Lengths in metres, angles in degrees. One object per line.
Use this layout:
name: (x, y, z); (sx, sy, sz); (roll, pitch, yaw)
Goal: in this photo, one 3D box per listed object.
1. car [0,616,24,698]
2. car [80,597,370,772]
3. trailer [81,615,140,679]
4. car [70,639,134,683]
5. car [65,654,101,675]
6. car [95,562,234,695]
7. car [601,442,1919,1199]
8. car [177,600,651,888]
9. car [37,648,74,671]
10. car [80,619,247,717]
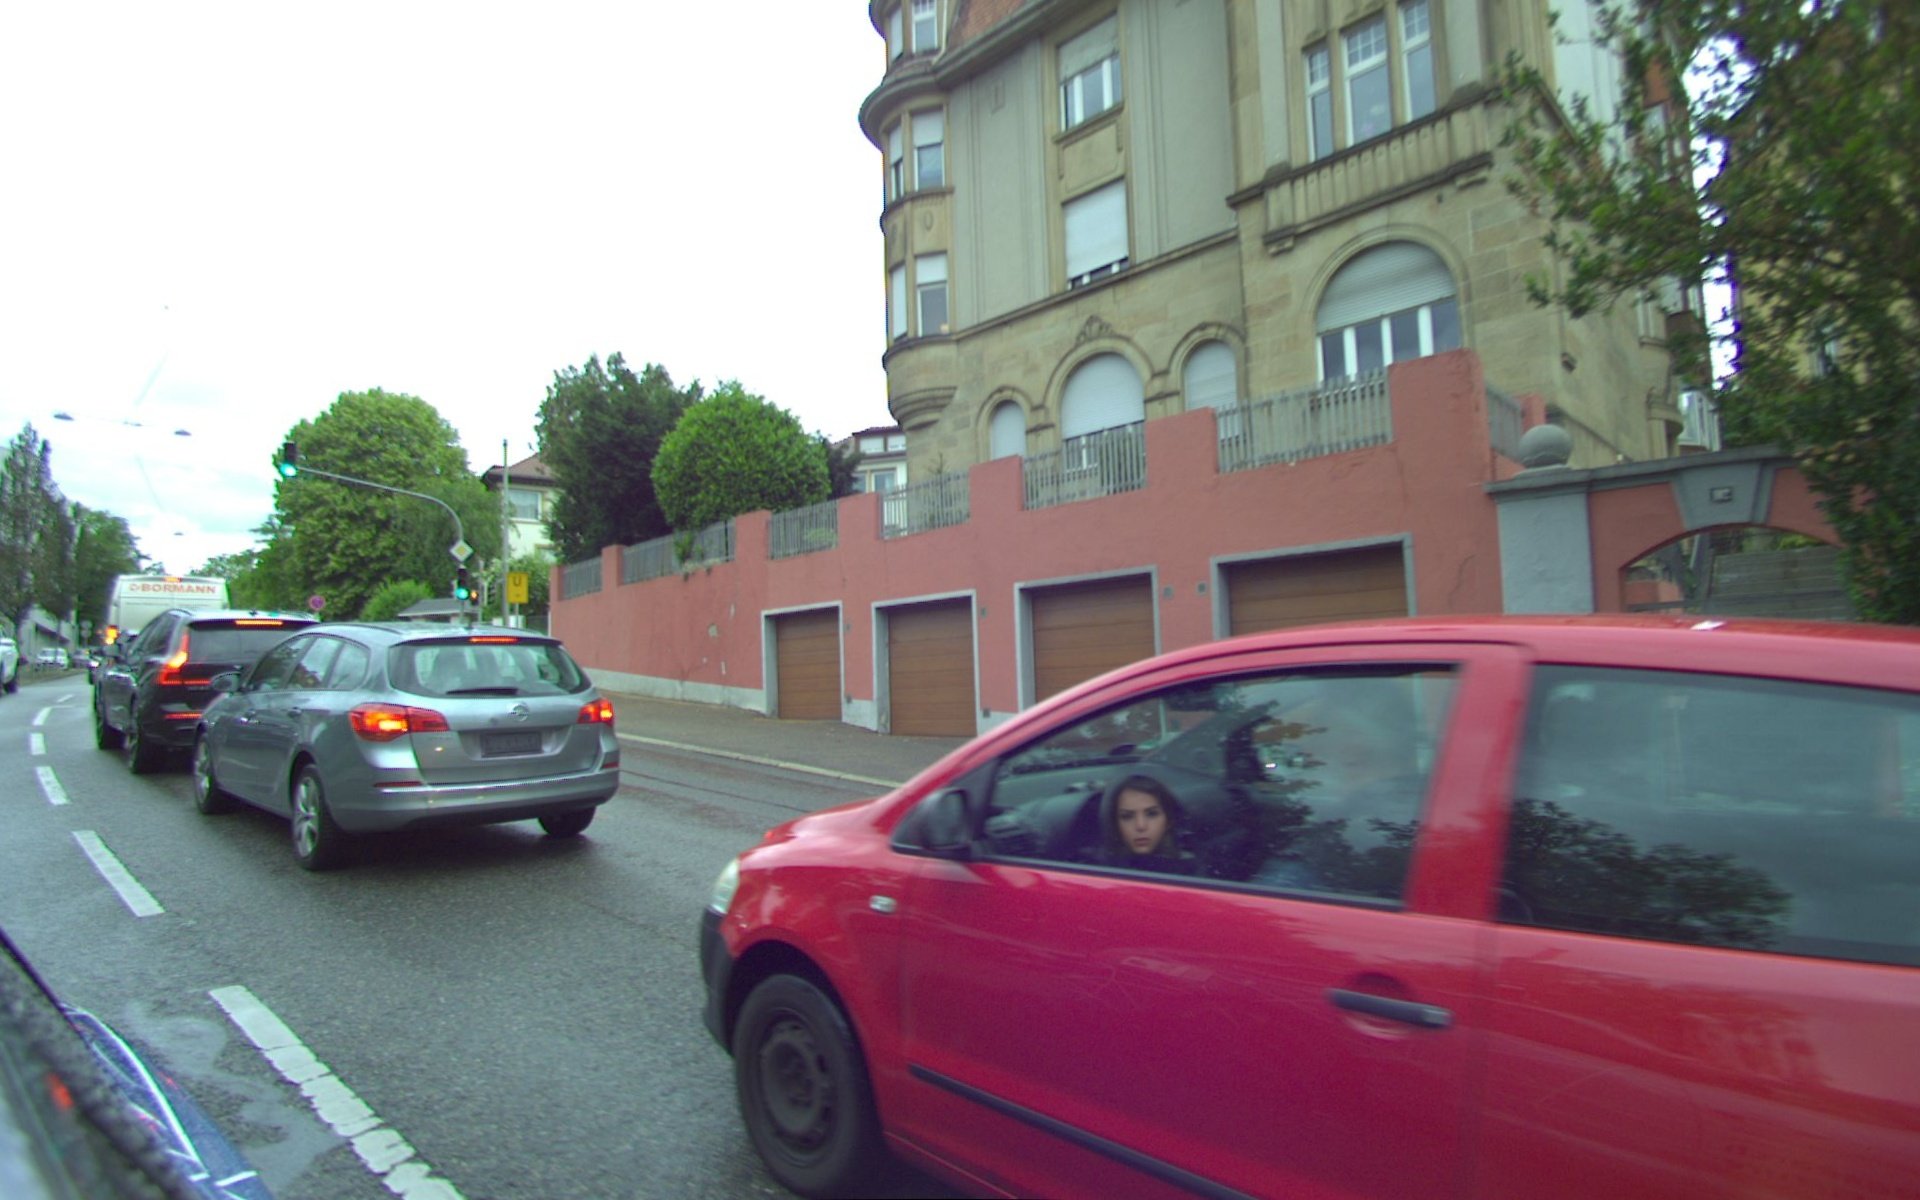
car: (-21.426, 1.205, 21.696); (1.759, 1.654, 4.206); (2, -3, -40)
car: (-8.452, 0.844, 11.454); (4.587, 1.587, 1.854); (-2, -3, 44)
trailer: (-37.371, 2.022, 44.580); (1.743, 2.645, 3.040); (0, -1, -36)
car: (-35.483, 2.477, 41.915); (1.709, 1.631, 3.484); (0, -1, -35)
car: (-66.368, 4.885, 76.637); (1.791, 1.470, 4.751); (2, -3, -38)
car: (-17.519, 0.652, 22.300); (2.090, 2.565, 5.550); (2, -3, -39)
car: (0.843, 0.649, 2.512); (4.001, 1.580, 1.636); (-2, -2, 44)
car: (-4.193, 0.816, 7.436); (4.262, 1.509, 1.754); (-1, -3, 43)
car: (-57.942, 3.802, 64.874); (1.566, 1.422, 3.462); (4, -5, -40)
car: (-13.331, 1.070, 16.850); (1.793, 1.441, 4.004); (3, -3, -43)
